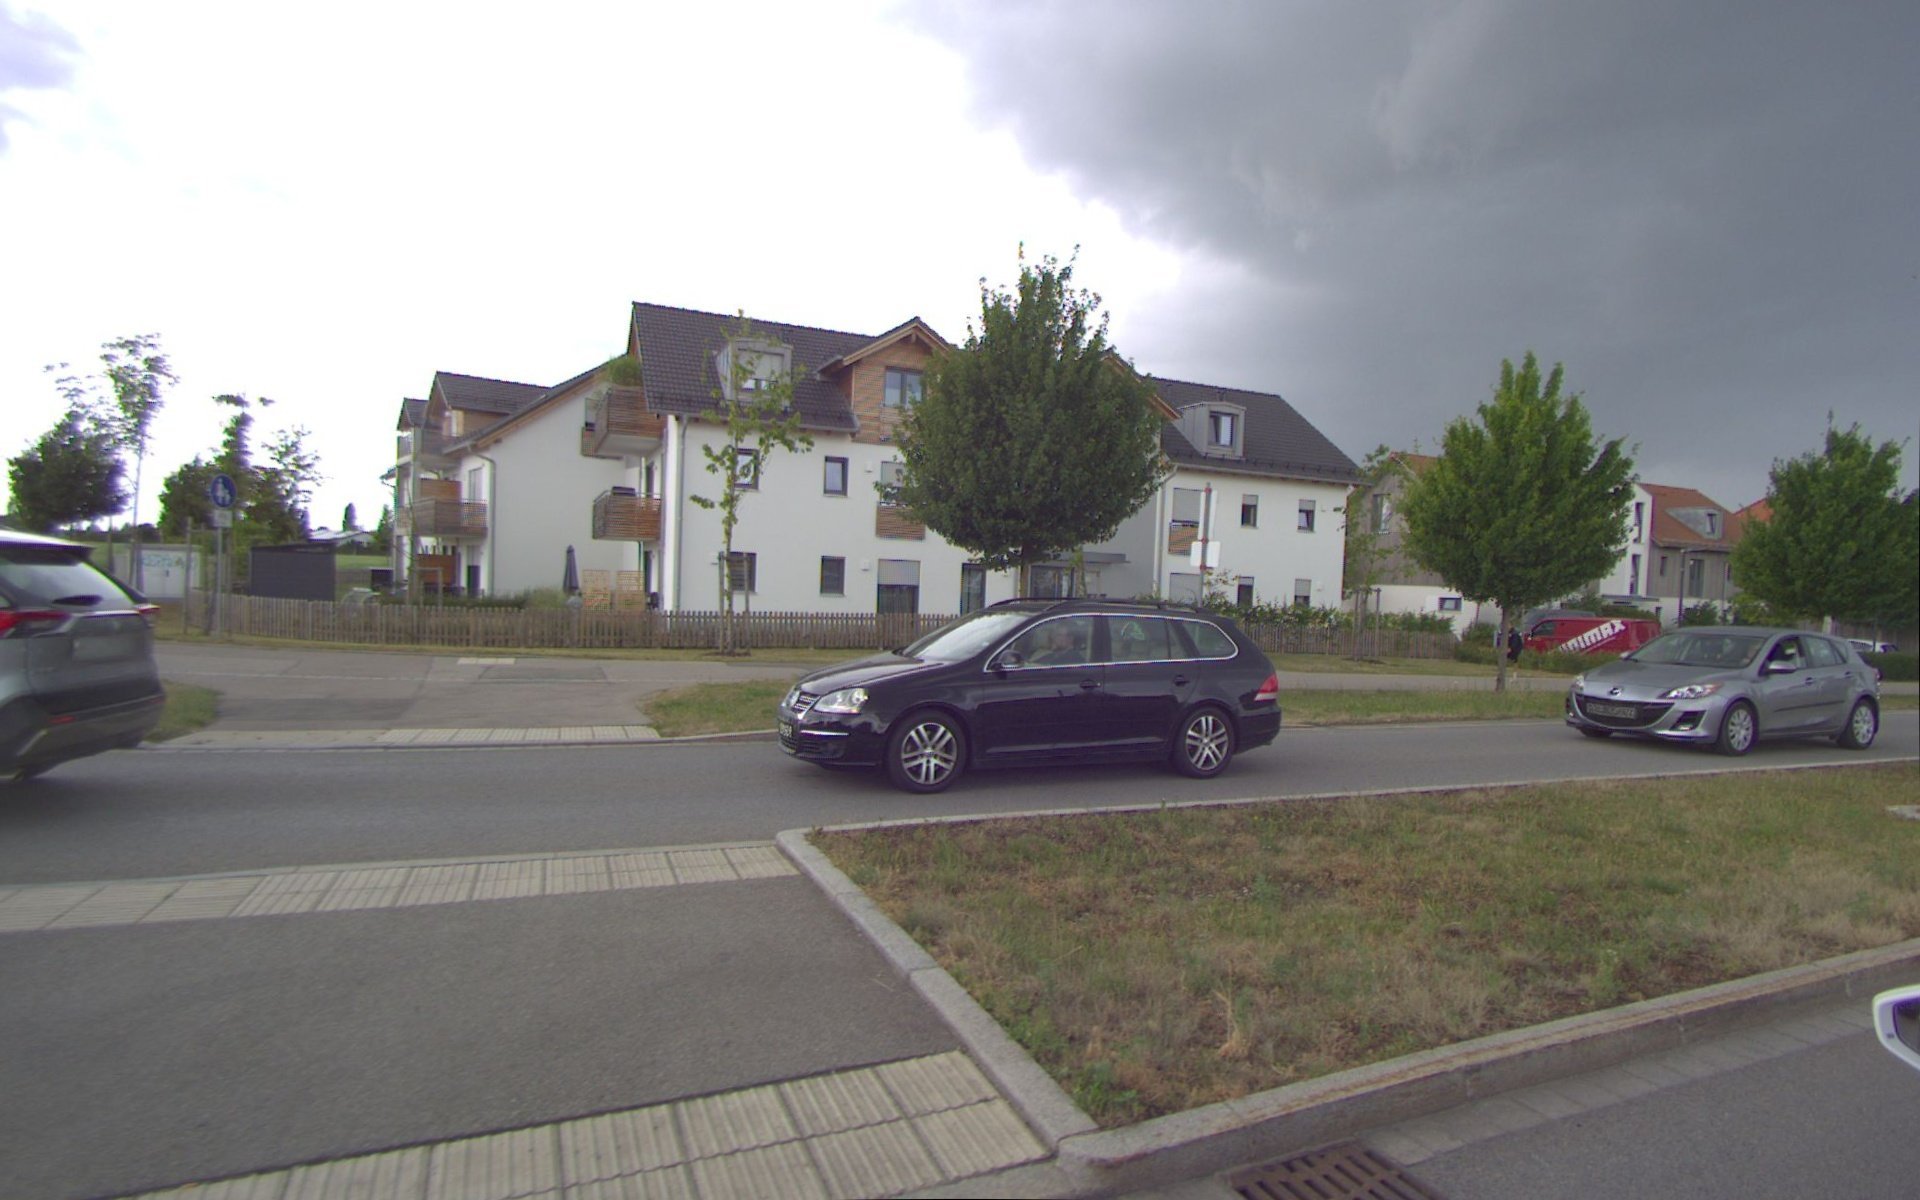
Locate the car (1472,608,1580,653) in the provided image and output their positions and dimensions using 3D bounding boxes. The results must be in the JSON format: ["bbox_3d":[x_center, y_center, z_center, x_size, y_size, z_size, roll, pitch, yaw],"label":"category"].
[{"bbox_3d":[26.568,1.435,47.202,4.399,1.795,1.990,3,1,-21],"label":"car"}]

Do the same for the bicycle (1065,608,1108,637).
[{"bbox_3d":[4.123,0.734,32.681,1.319,0.854,0.366,2,4,-24],"label":"bicycle"}]

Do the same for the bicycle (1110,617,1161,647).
[{"bbox_3d":[5.306,0.968,30.297,1.525,0.854,0.366,2,4,-24],"label":"bicycle"}]

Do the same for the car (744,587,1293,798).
[{"bbox_3d":[0.557,0.730,8.599,4.397,1.435,1.748,3,-2,-26],"label":"car"}]

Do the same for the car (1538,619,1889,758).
[{"bbox_3d":[9.365,1.054,12.455,4.149,1.428,1.725,3,0,-25],"label":"car"}]

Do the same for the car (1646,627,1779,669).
[{"bbox_3d":[30.647,1.926,41.019,1.819,1.333,3.899,2,2,-27],"label":"car"}]

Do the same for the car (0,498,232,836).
[{"bbox_3d":[-7.119,0.254,5.522,4.559,1.726,1.993,2,0,-16],"label":"car"}]

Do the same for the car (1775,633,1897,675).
[{"bbox_3d":[39.206,2.384,45.053,1.665,1.502,3.714,2,2,-28],"label":"car"}]

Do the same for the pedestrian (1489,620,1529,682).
[{"bbox_3d":[14.652,1.356,26.812,0.651,1.580,0.579,2,2,-27],"label":"pedestrian"}]

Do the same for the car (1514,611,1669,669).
[{"bbox_3d":[23.189,1.442,37.099,1.971,1.702,4.521,3,2,-22],"label":"car"}]
